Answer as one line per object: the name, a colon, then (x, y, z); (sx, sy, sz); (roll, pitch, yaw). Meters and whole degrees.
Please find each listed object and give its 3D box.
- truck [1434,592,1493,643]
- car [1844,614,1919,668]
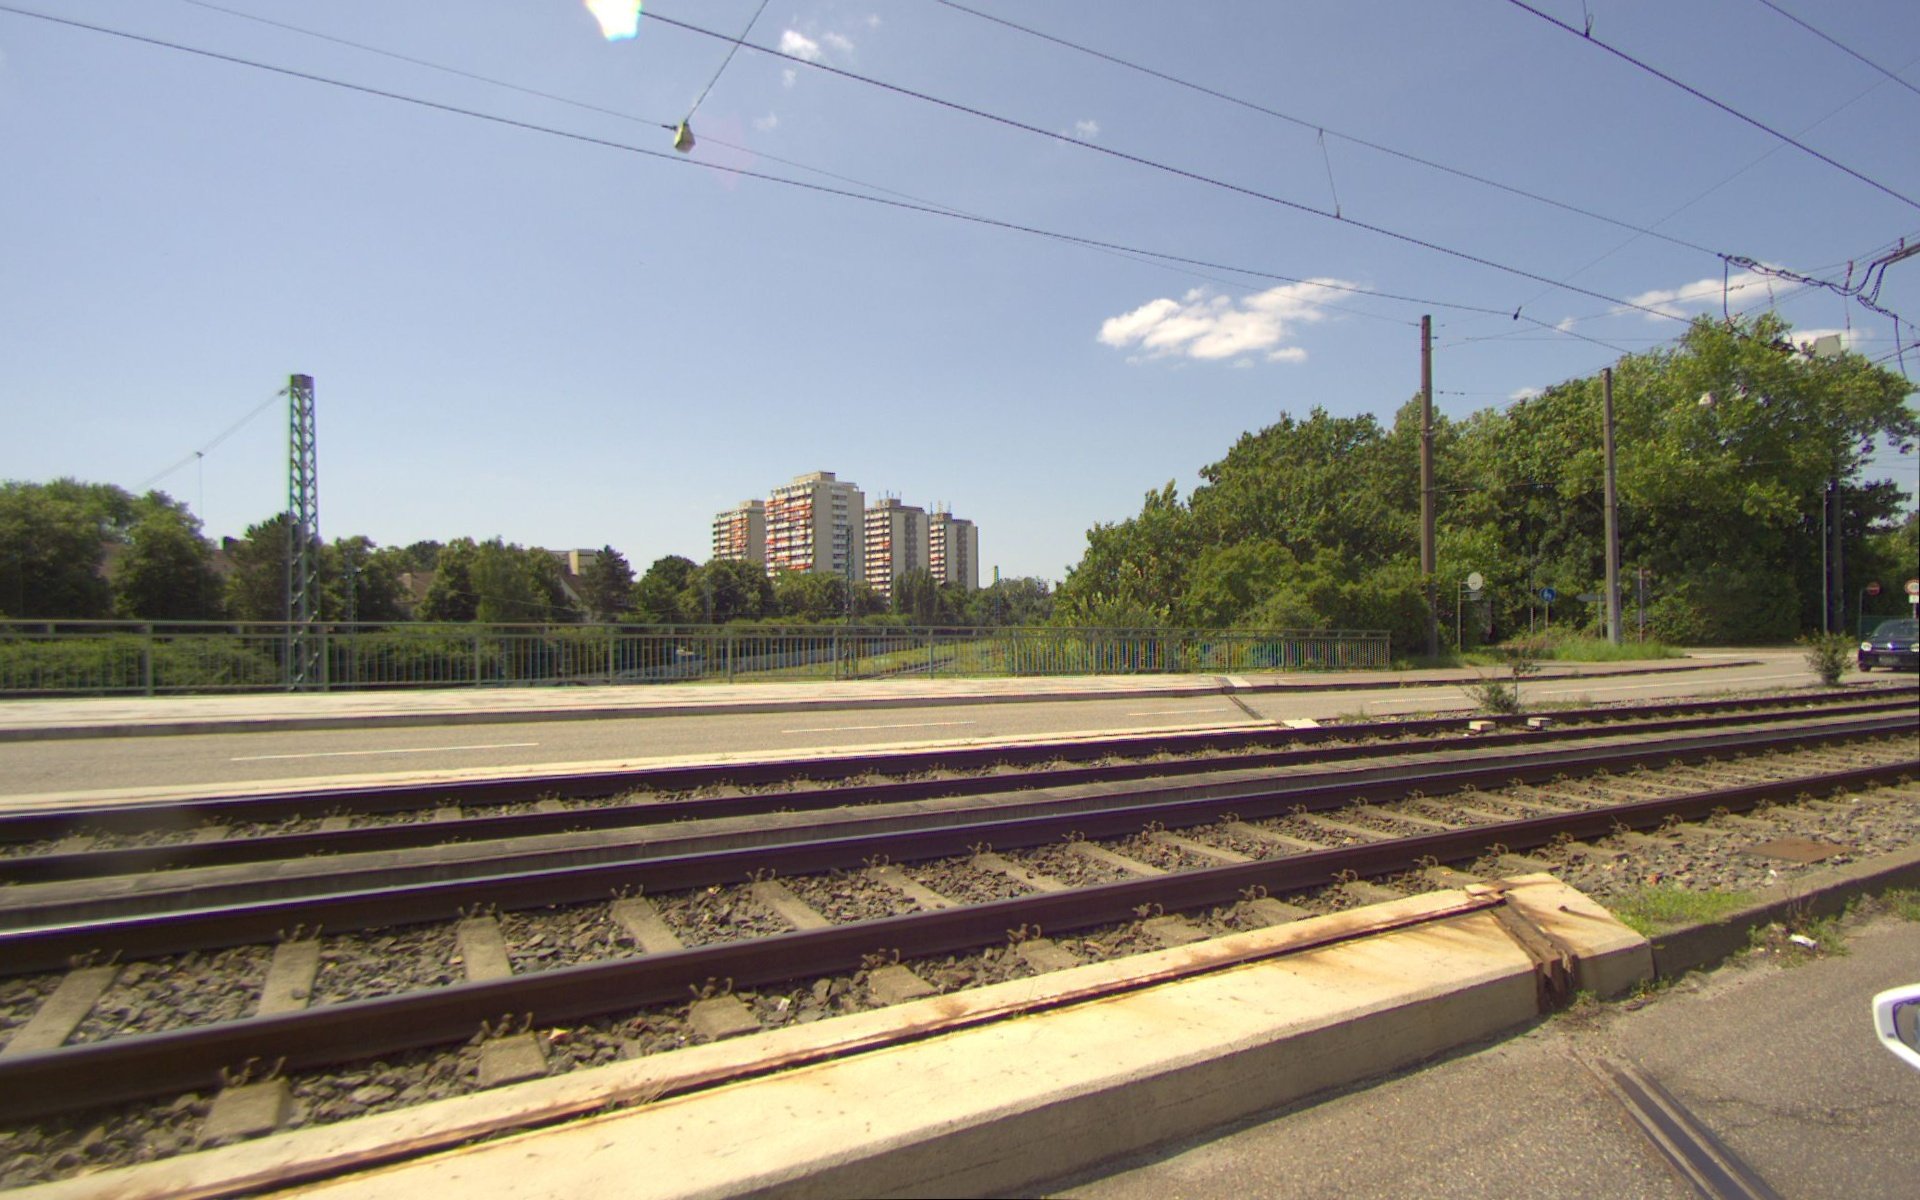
truck: (37.707, 1.353, 75.385); (2.790, 3.703, 5.295); (0, -1, 14)
car: (28.302, 1.206, 30.023); (3.687, 1.530, 1.698); (1, -2, -29)
